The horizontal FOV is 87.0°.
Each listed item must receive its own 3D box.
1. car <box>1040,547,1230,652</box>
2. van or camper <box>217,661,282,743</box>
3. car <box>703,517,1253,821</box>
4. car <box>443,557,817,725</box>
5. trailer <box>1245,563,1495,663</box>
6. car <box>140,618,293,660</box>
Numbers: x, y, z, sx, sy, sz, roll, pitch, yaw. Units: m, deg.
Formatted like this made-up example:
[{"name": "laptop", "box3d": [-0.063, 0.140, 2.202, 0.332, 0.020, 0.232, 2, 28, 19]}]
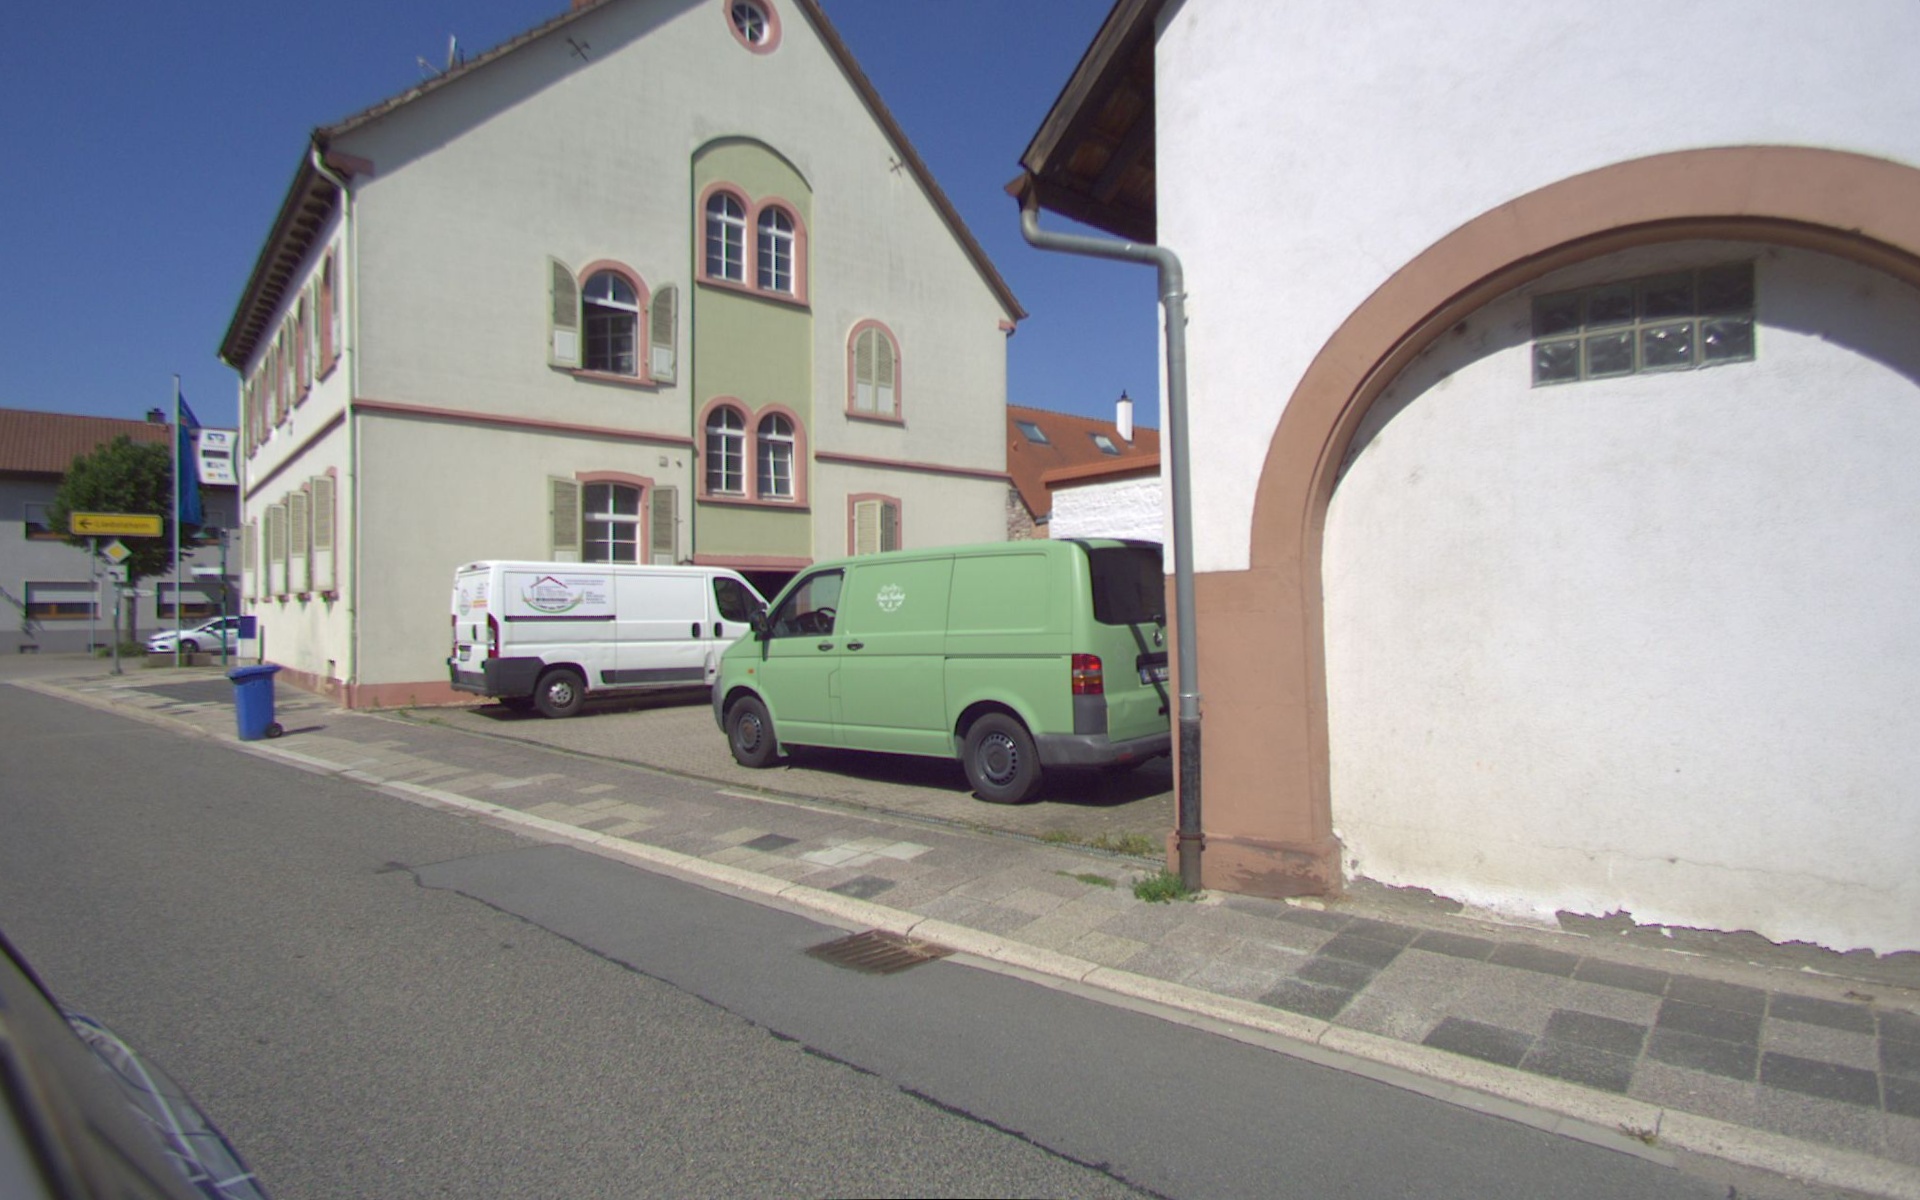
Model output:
[{"name": "car", "box3d": [4.814, 0.000, 28.577, 1.968, 2.693, 5.241, -1, 0, -39]}, {"name": "van or camper", "box3d": [-9.000, 1.279, 12.822, 0.582, 0.958, 0.600, -1, 0, -44]}, {"name": "car", "box3d": [-0.063, 0.483, 8.895, 4.667, 1.979, 1.972, -1, -1, 42]}, {"name": "car", "box3d": [-5.005, 0.515, 15.805, 5.111, 2.213, 2.126, -1, 0, -40]}, {"name": "trailer", "box3d": [9.148, 0.275, 22.969, 1.969, 2.029, 4.904, -1, 0, -40]}, {"name": "car", "box3d": [-28.742, 1.487, 39.229, 1.852, 1.451, 4.457, -1, -1, 37]}]
